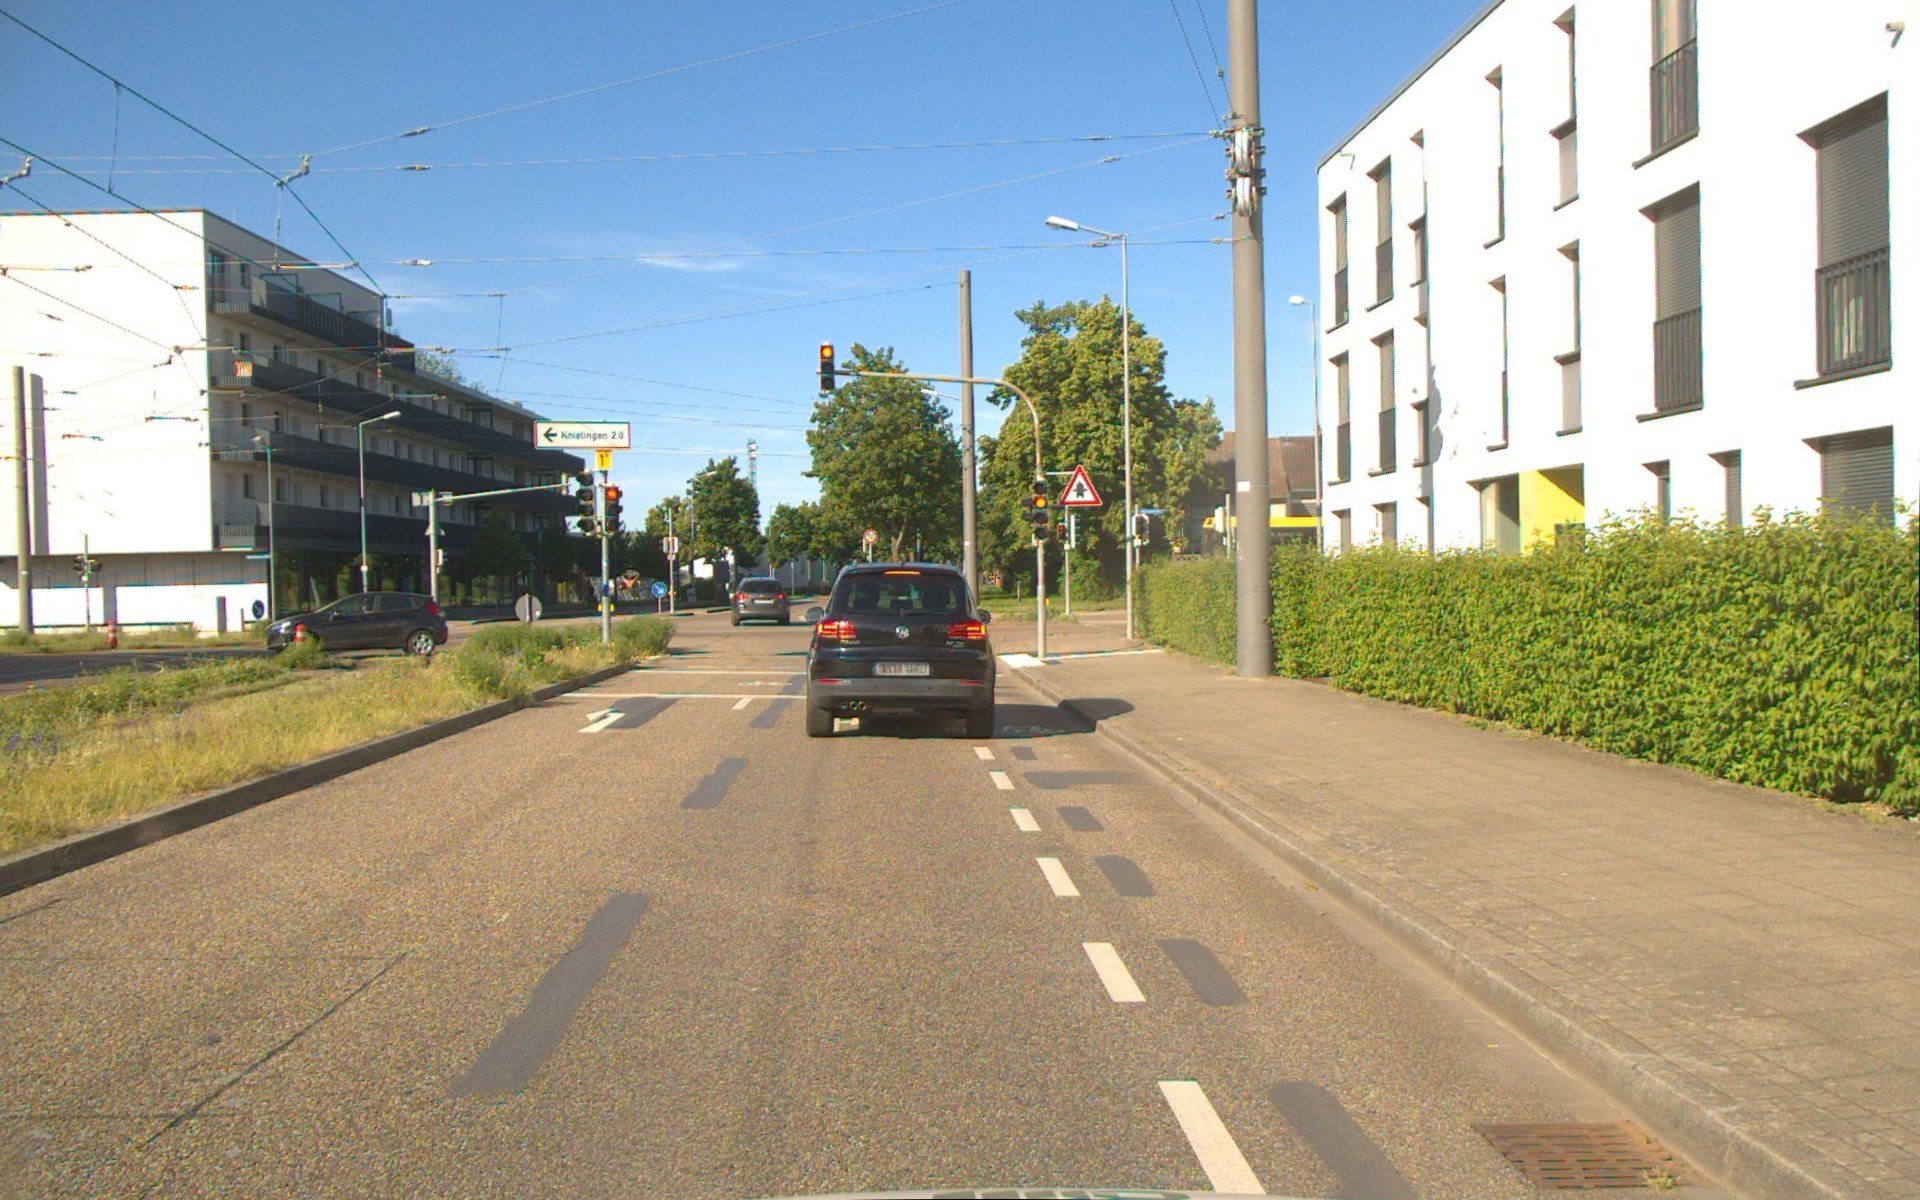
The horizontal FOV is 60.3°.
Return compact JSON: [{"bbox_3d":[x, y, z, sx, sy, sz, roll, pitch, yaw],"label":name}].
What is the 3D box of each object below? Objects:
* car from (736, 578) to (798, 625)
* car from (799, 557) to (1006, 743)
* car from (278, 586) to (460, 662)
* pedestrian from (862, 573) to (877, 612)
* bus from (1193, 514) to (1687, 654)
[{"bbox_3d":[-6.069,0.021,52.259,1.716,1.411,3.997,0,1,-4],"label":"car"},{"bbox_3d":[-0.641,0.419,16.974,1.868,1.671,3.997,0,1,-4],"label":"car"},{"bbox_3d":[-13.453,0.521,37.677,3.685,1.455,1.694,-4,1,-27],"label":"car"},{"bbox_3d":[-3.885,-0.307,70.957,0.590,1.668,0.529,0,1,2],"label":"pedestrian"},{"bbox_3d":[13.924,-0.482,47.690,14.392,3.735,2.837,0,1,-15],"label":"bus"}]
